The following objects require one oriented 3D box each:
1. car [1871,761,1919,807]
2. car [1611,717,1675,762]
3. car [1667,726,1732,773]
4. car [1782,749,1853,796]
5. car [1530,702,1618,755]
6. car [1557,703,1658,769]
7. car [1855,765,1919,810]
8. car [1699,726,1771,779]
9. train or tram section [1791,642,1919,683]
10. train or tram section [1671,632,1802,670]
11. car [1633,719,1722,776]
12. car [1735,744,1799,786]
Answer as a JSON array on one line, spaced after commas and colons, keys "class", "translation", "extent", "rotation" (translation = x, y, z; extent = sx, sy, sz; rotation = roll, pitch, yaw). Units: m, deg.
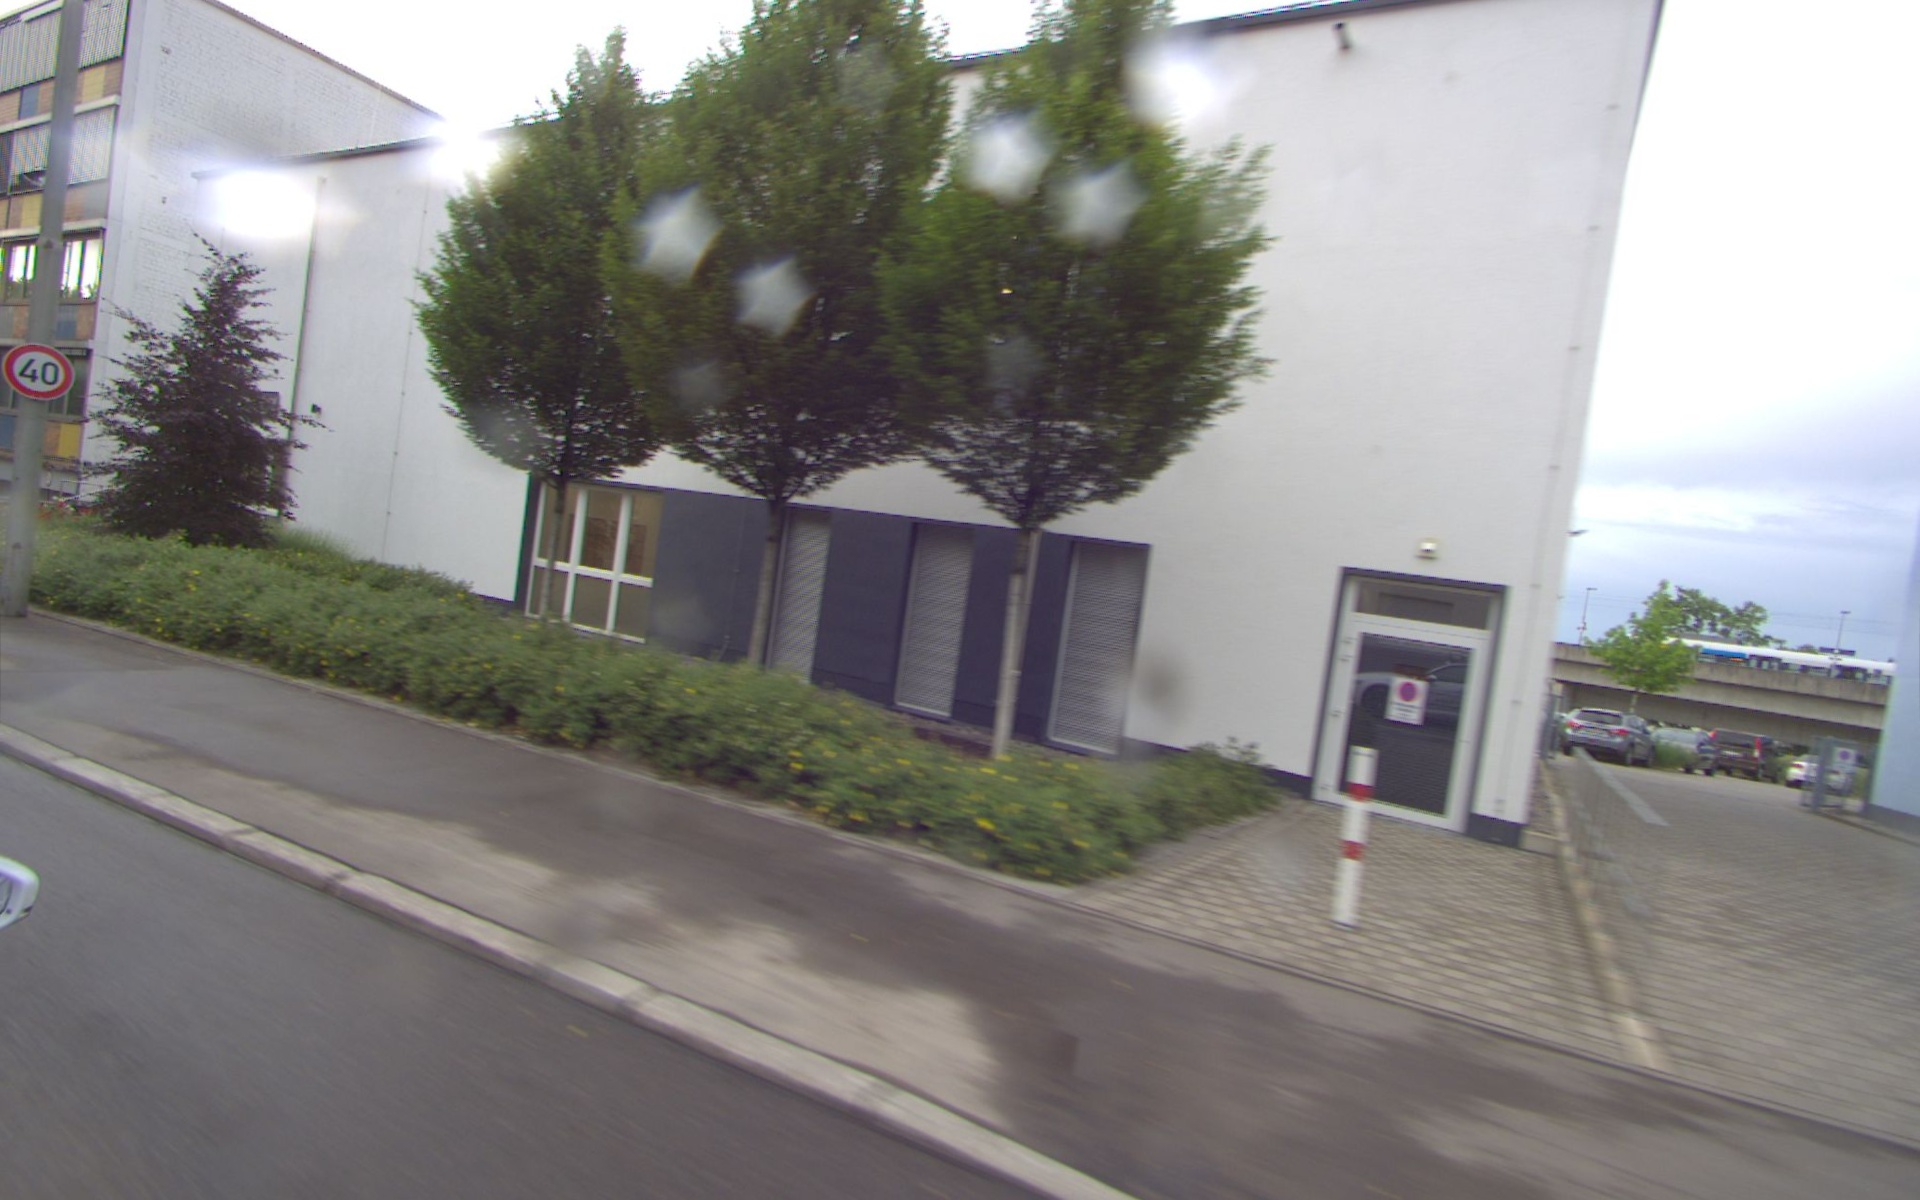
[{"class": "car", "translation": [36.422, 7.146, 38.705], "extent": [1.888, 1.449, 3.861], "rotation": [7, -3, 43]}, {"class": "car", "translation": [33.489, 6.845, 49.276], "extent": [1.888, 1.740, 3.861], "rotation": [7, -3, 43]}, {"class": "car", "translation": [35.100, 7.108, 47.737], "extent": [1.888, 1.740, 3.861], "rotation": [7, -3, 43]}, {"class": "car", "translation": [34.632, 6.988, 40.589], "extent": [1.888, 1.449, 3.861], "rotation": [7, -3, 43]}, {"class": "car", "translation": [22.548, 4.734, 36.866], "extent": [1.888, 1.449, 3.861], "rotation": [7, -3, 43]}, {"class": "car", "translation": [20.399, 4.290, 31.631], "extent": [1.888, 1.561, 3.861], "rotation": [7, -3, 43]}, {"class": "car", "translation": [39.336, 7.939, 42.653], "extent": [1.888, 1.449, 3.861], "rotation": [7, -3, 43]}, {"class": "car", "translation": [32.784, 6.474, 42.518], "extent": [1.888, 1.772, 3.861], "rotation": [7, -3, 43]}, {"class": "train or tram section", "translation": [66.147, 4.583, 73.789], "extent": [1.986, 2.038, 7.649], "rotation": [7, 0, -41]}, {"class": "train or tram section", "translation": [61.262, 3.988, 79.554], "extent": [1.986, 2.038, 7.859], "rotation": [7, 0, -40]}, {"class": "car", "translation": [24.642, 5.075, 34.509], "extent": [1.888, 1.449, 3.861], "rotation": [7, -3, 43]}, {"class": "car", "translation": [36.707, 7.515, 45.716], "extent": [1.888, 1.449, 3.861], "rotation": [7, -3, 43]}]
